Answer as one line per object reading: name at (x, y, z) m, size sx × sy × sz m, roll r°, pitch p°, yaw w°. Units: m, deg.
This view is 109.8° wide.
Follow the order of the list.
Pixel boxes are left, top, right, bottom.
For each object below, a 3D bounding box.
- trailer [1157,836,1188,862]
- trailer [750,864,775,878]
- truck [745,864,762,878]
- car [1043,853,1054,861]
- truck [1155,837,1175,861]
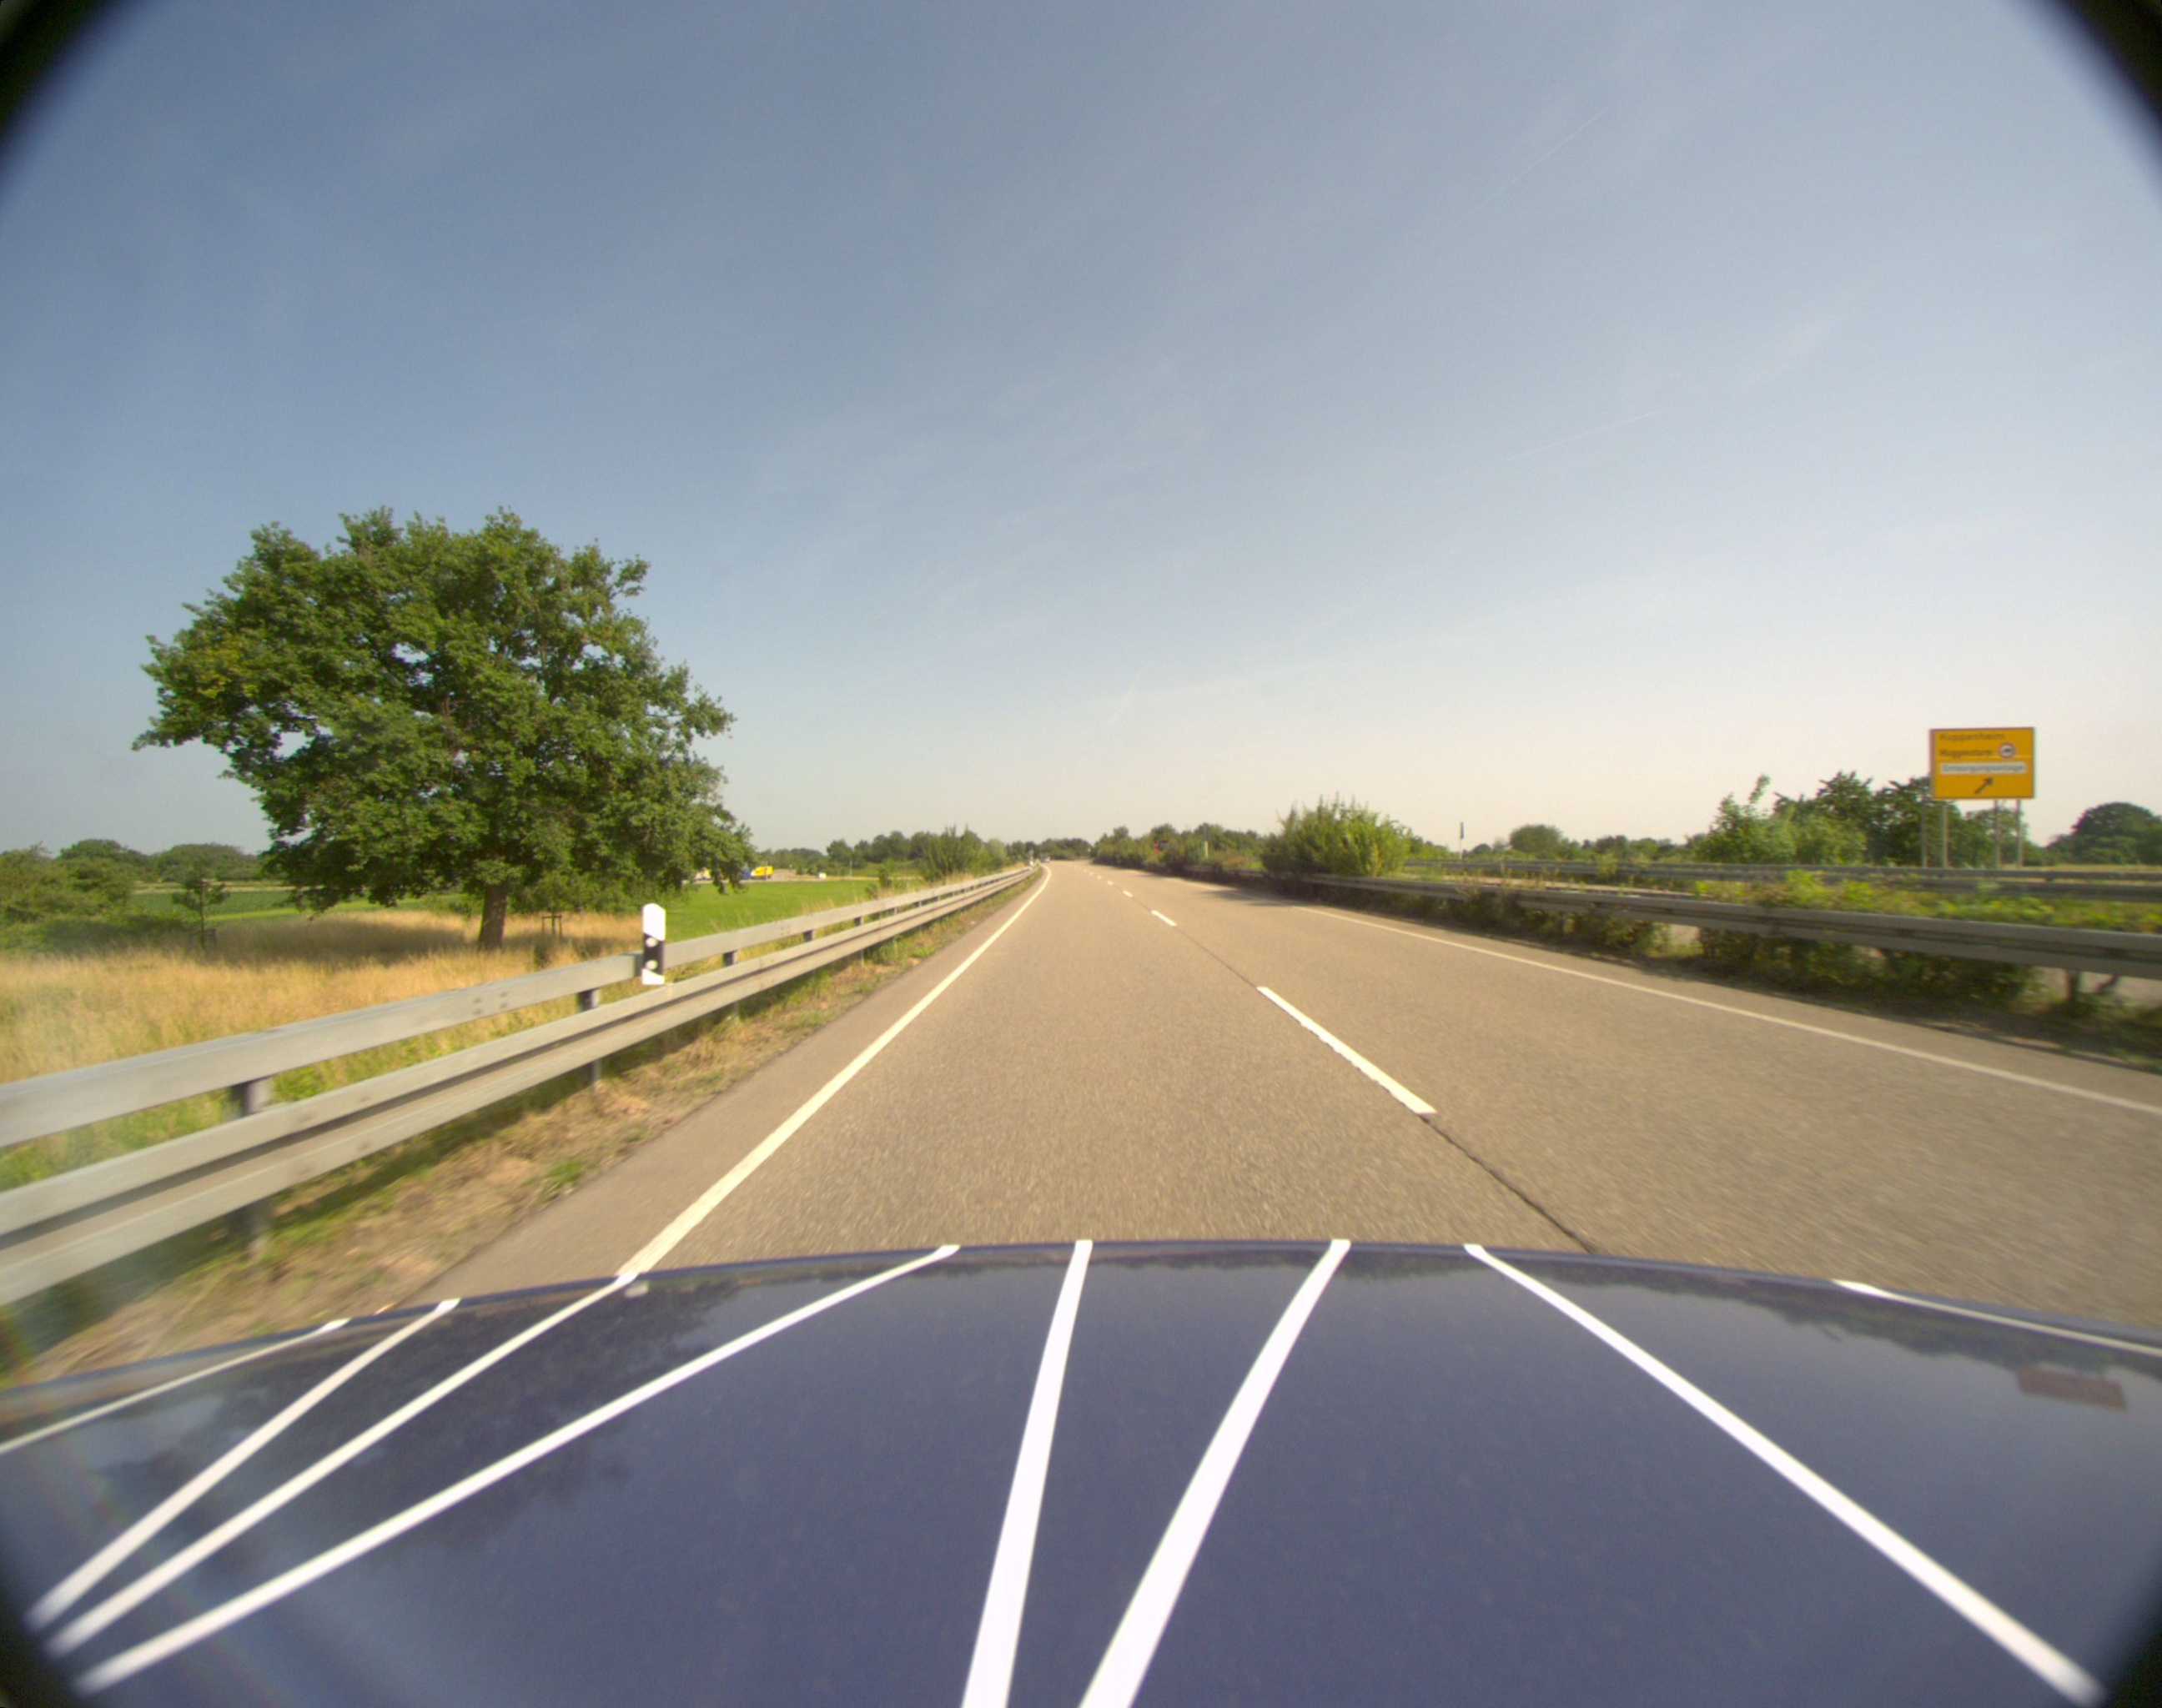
trailer at (12.672, -0.671, 106.195) m, size 1.999 × 3.356 × 13.422 m, roll -2°, pitch 0°, yaw -3°
trailer at (-97.858, 5.205, 233.859) m, size 2.261 × 4.145 × 14.422 m, roll -1°, pitch 0°, yaw -2°
truck at (-98.106, 5.170, 227.560) m, size 2.256 × 4.145 × 4.379 m, roll -1°, pitch 0°, yaw 25°
car at (-7.068, 0.659, 163.642) m, size 1.704 × 1.474 × 3.597 m, roll -3°, pitch -1°, yaw -11°
truck at (12.392, -0.692, 112.527) m, size 1.999 × 3.356 × 5.626 m, roll -2°, pitch 0°, yaw -3°
